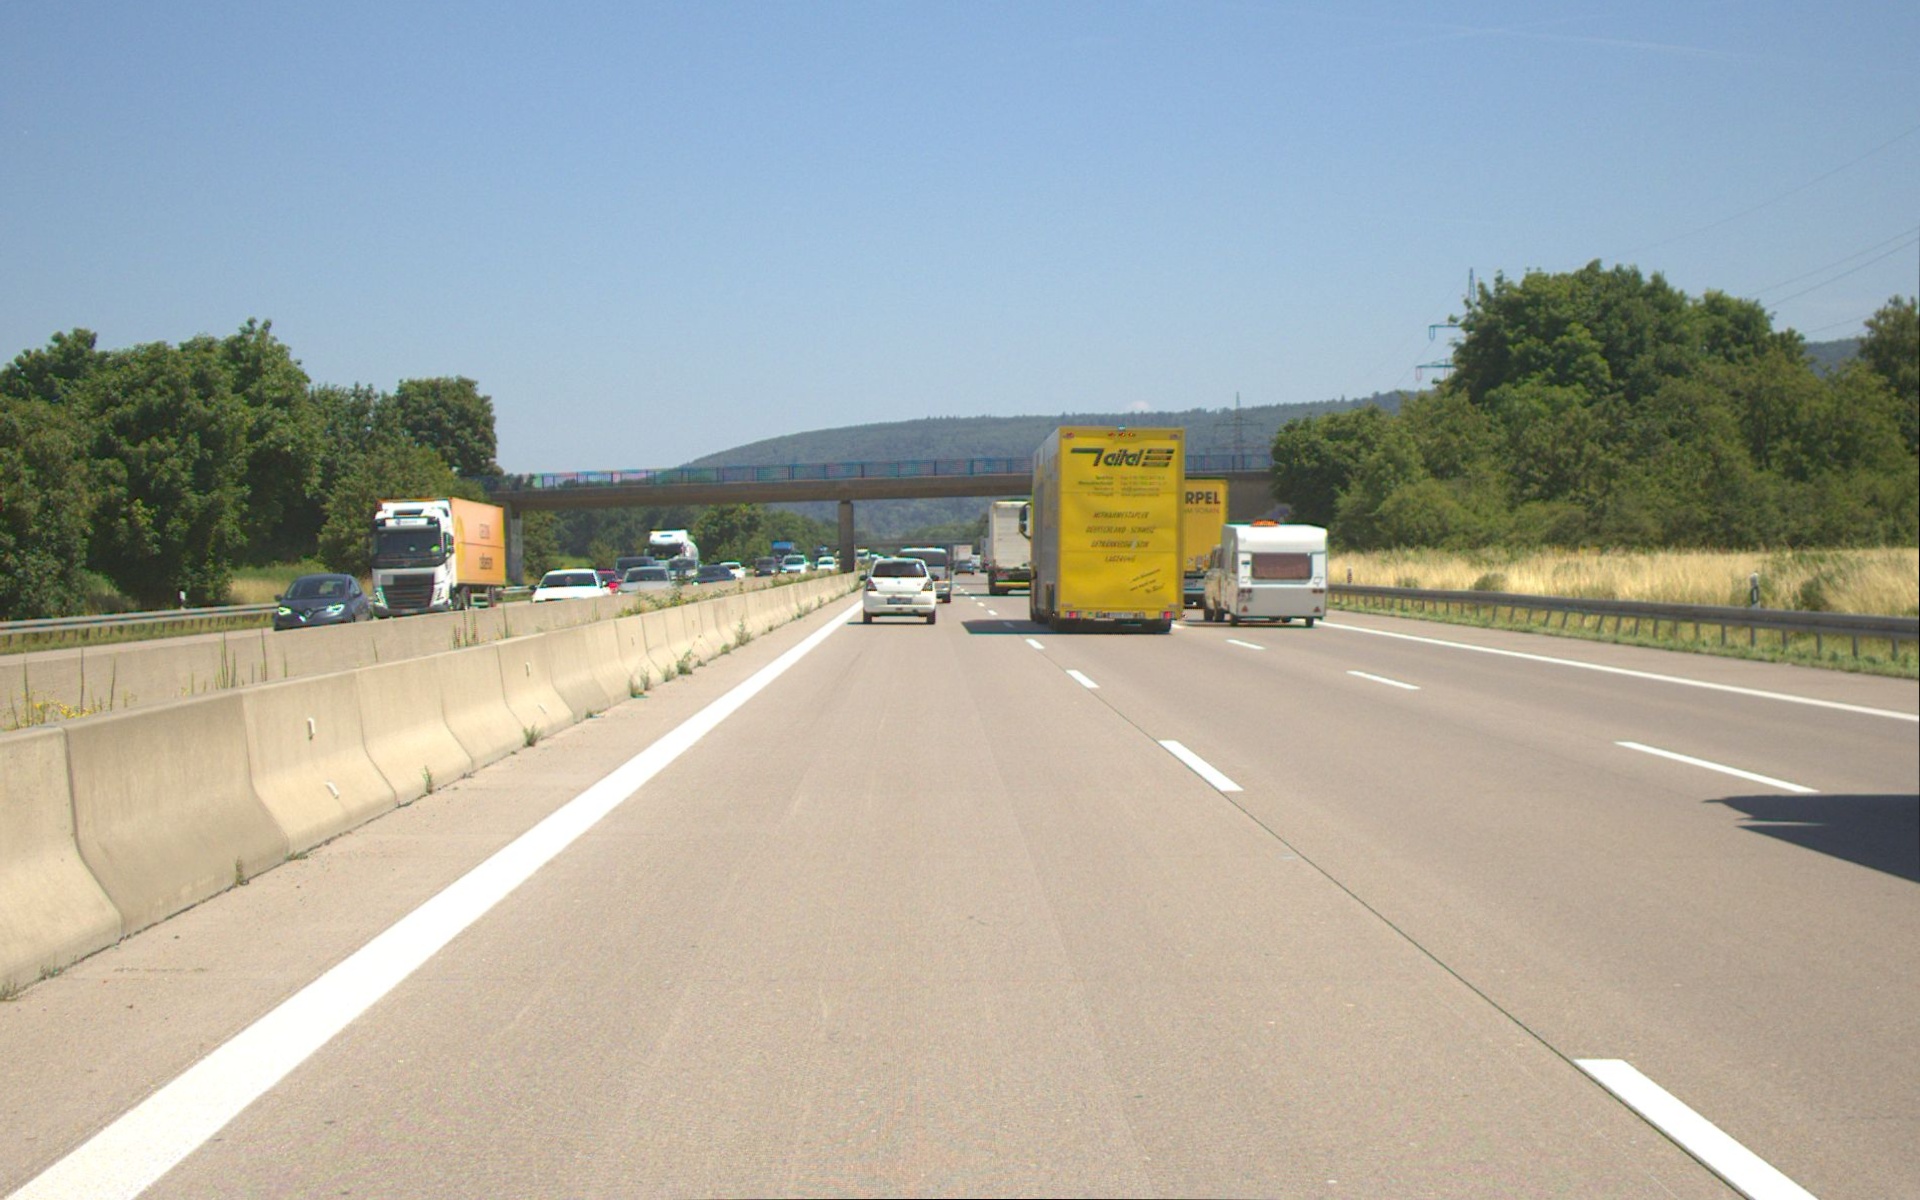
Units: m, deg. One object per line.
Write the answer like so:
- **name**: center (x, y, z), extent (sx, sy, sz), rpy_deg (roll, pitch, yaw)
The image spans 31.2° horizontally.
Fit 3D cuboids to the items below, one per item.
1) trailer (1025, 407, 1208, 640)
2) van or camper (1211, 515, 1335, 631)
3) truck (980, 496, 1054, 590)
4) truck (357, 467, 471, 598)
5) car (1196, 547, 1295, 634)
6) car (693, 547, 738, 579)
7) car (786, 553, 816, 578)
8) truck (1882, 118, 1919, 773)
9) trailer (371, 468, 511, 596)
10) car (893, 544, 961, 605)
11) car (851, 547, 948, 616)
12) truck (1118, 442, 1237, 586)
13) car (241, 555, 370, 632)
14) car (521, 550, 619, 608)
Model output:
- **trailer**: center (3.215, -1.640, 74.595), extent (3.216, 4.548, 13.457), rpy_deg (1, 1, 0)
- **van or camper**: center (7.129, -0.651, 78.813), extent (2.224, 2.522, 5.431), rpy_deg (1, 1, -1)
- **truck**: center (2.352, -2.382, 143.212), extent (2.820, 3.748, 6.284), rpy_deg (1, 1, -1)
- **truck**: center (-18.164, -2.245, 114.588), extent (2.868, 4.181, 5.230), rpy_deg (-2, 1, -1)
- **car**: center (6.920, -0.257, 83.578), extent (1.993, 2.007, 4.000), rpy_deg (1, 1, -1)
- **car**: center (-10.557, -1.617, 148.843), extent (1.690, 1.327, 4.000), rpy_deg (1, 1, -1)
- **car**: center (-11.626, -2.558, 251.498), extent (1.993, 1.729, 5.115), rpy_deg (-2, 1, -1)
- **truck**: center (7.476, -0.903, 18.998), extent (2.905, 4.086, 6.272), rpy_deg (1, 1, -1)
- **trailer**: center (-18.243, -2.368, 121.789), extent (2.873, 4.183, 14.141), rpy_deg (-2, 1, -1)
- **car**: center (-1.111, -0.887, 118.195), extent (2.254, 2.007, 4.298), rpy_deg (1, 1, 0)
- **car**: center (-1.377, -0.450, 79.645), extent (2.107, 1.530, 4.122), rpy_deg (1, 1, 1)
- **truck**: center (6.789, -2.680, 108.668), extent (2.999, 4.299, 9.684), rpy_deg (1, 1, 0)
- **car**: center (-14.531, -0.170, 76.539), extent (1.993, 1.555, 4.513), rpy_deg (-3, 1, -1)
- **car**: center (-9.950, -0.555, 87.987), extent (1.993, 1.359, 4.671), rpy_deg (-2, 1, -1)
